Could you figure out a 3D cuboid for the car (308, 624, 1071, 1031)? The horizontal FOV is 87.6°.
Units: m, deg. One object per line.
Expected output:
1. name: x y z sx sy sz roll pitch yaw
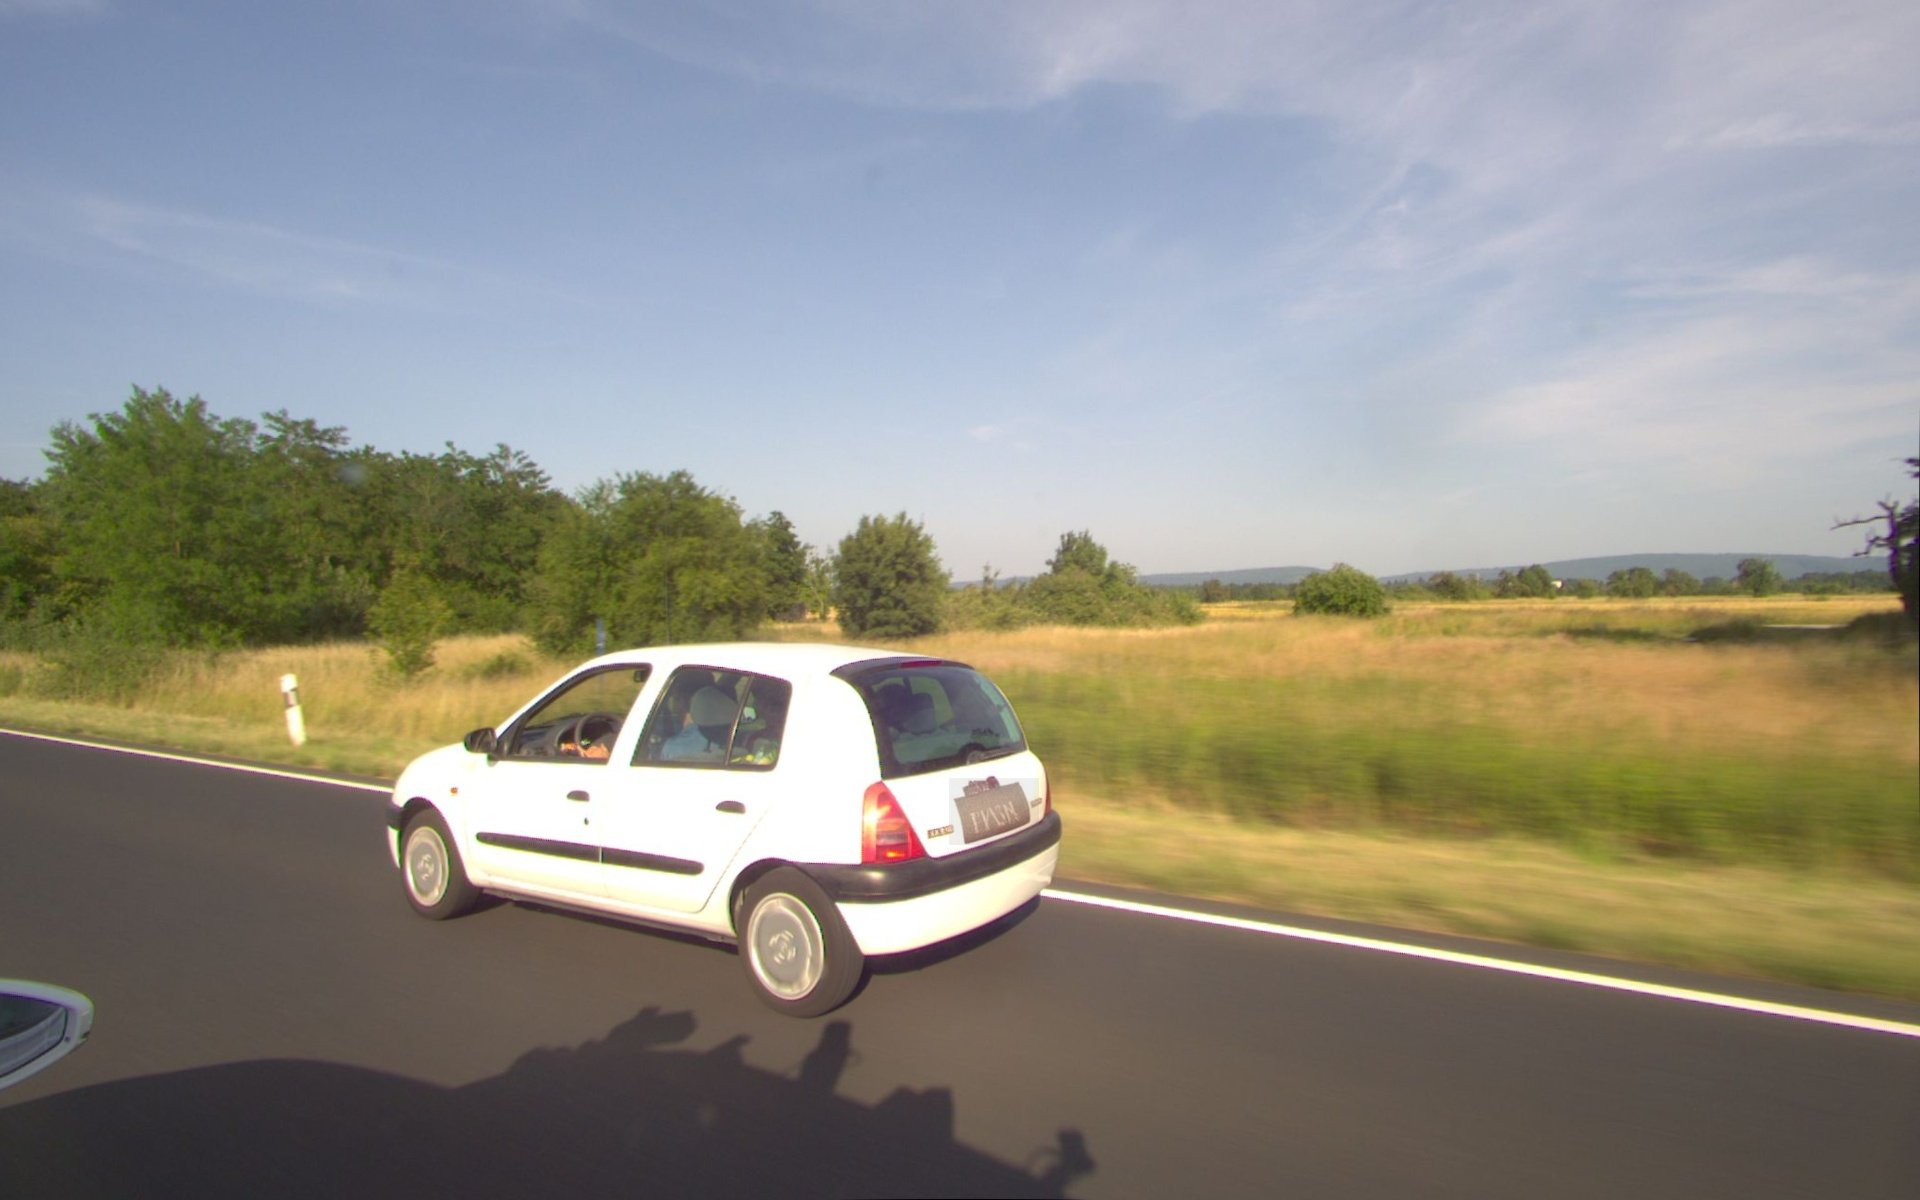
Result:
1. car: -1.535 0.851 5.195 3.895 1.405 1.615 -1 -2 32
